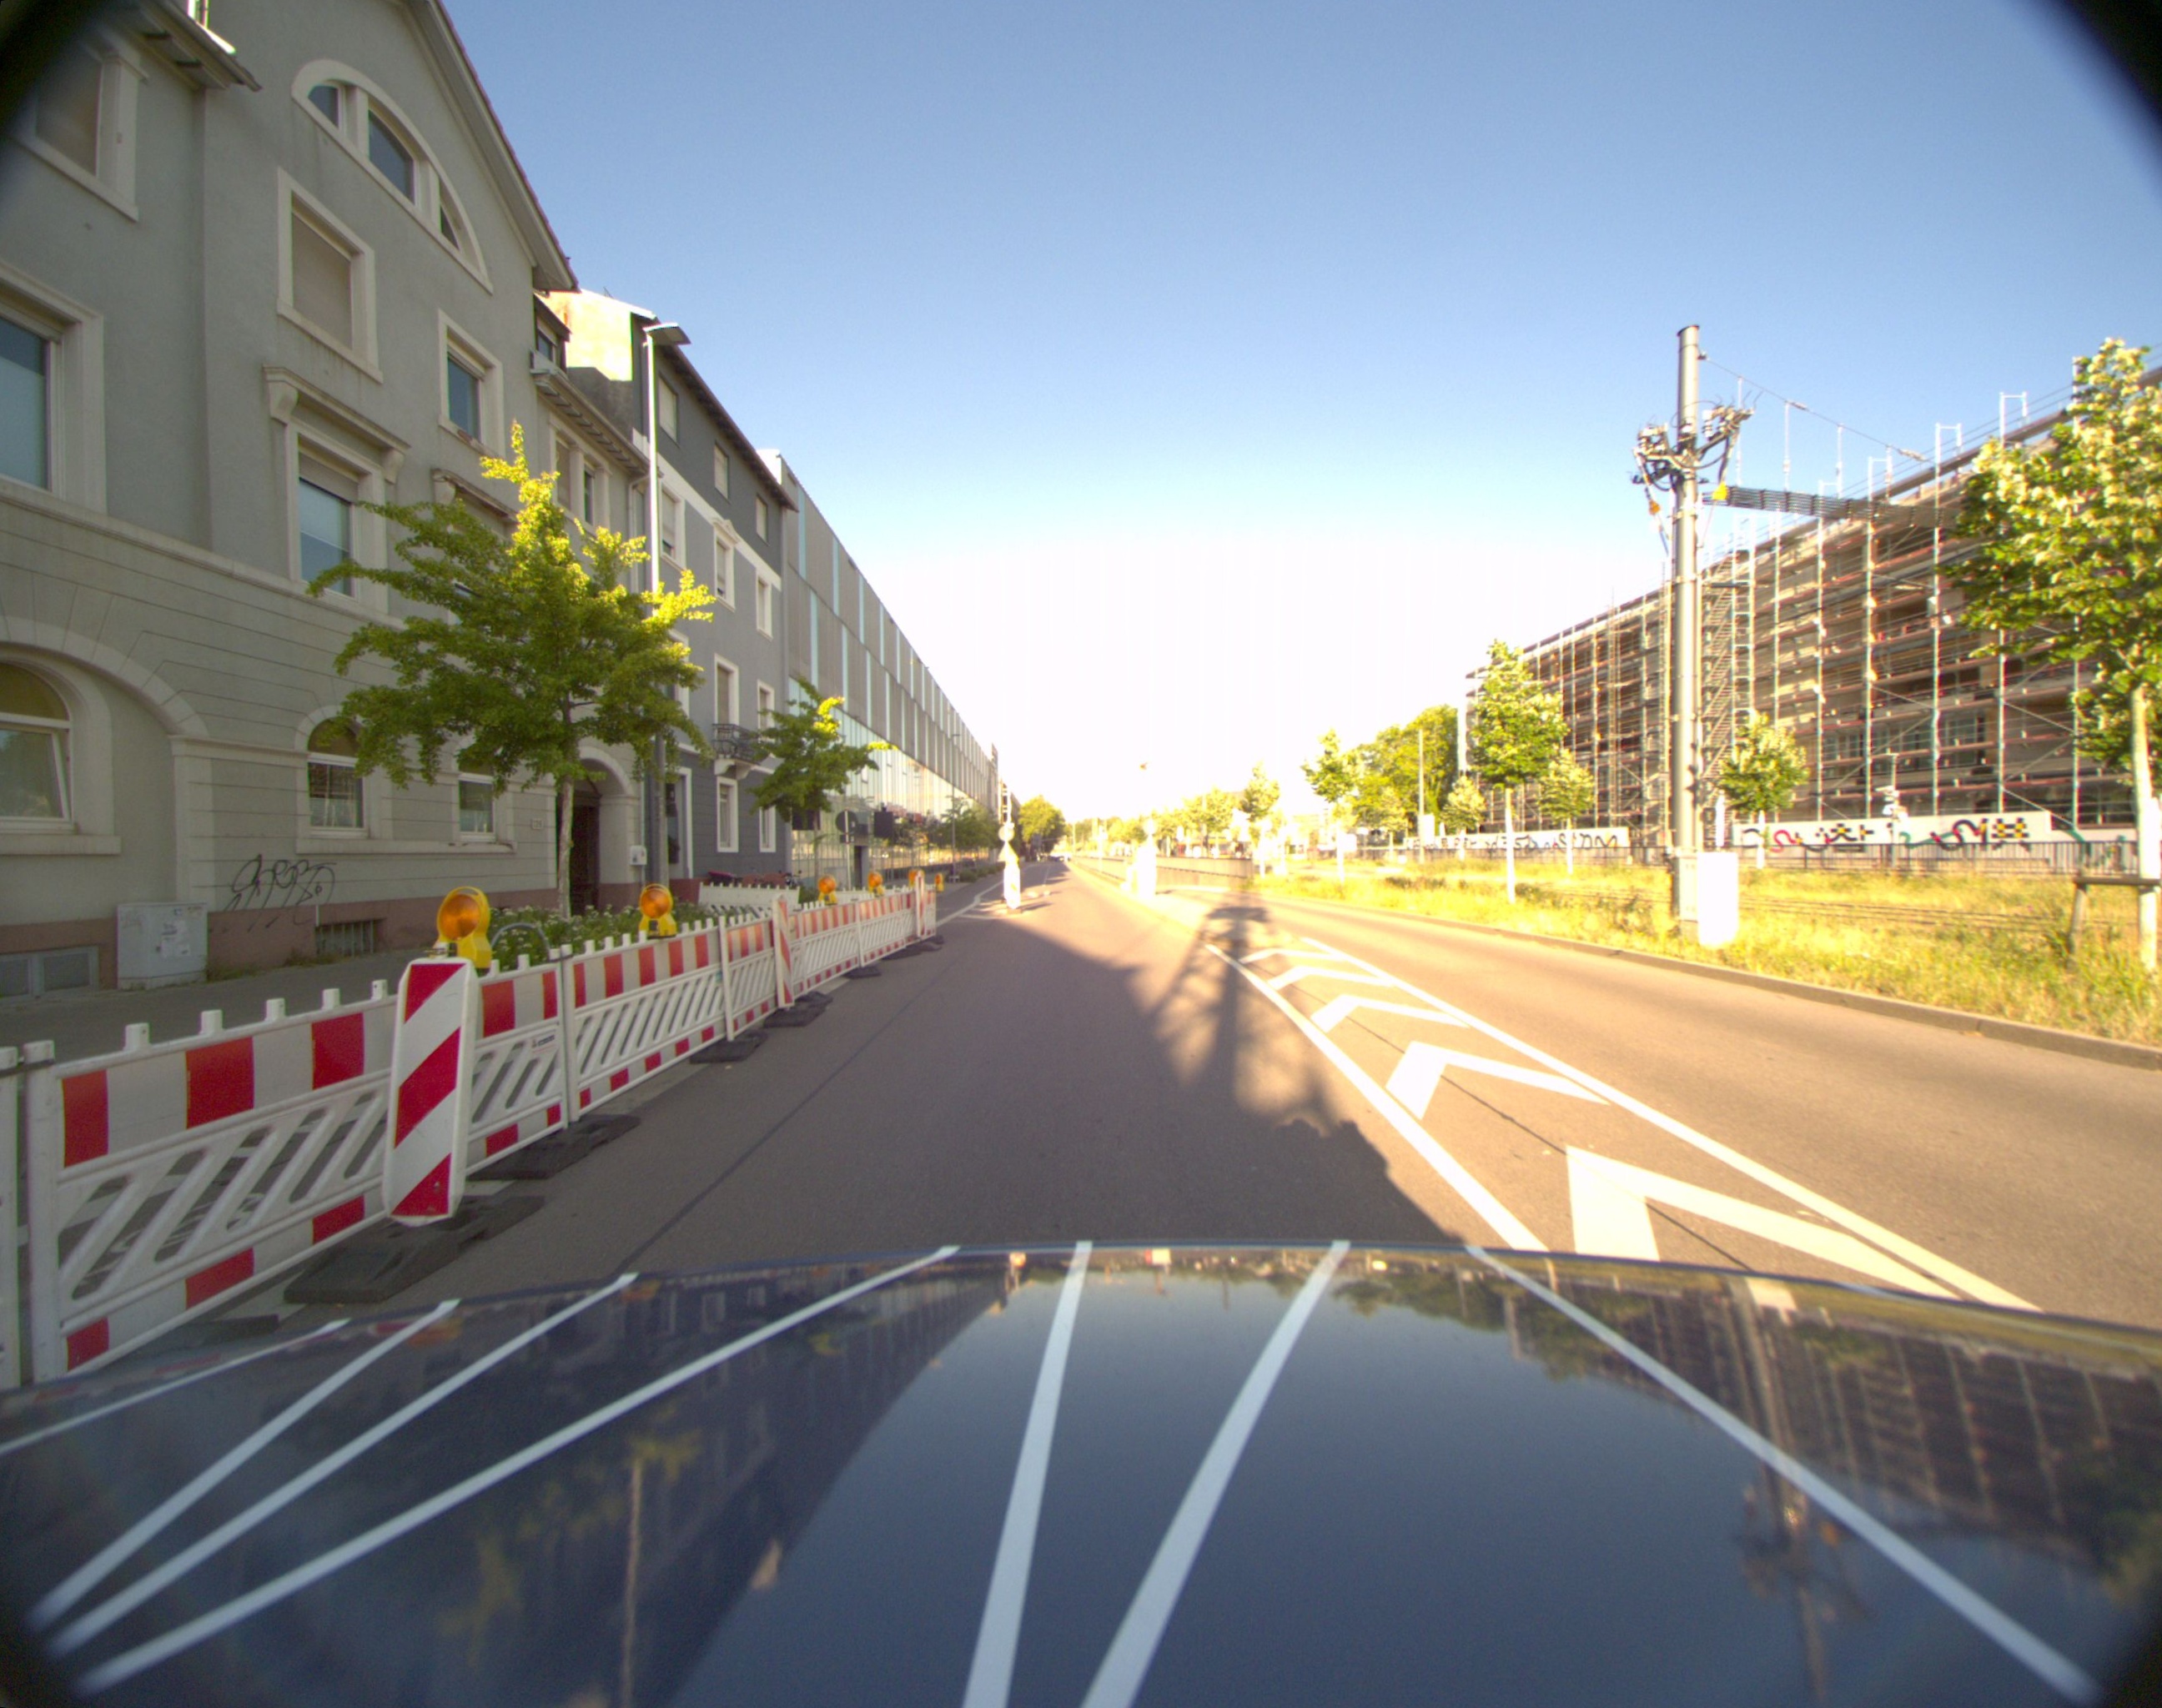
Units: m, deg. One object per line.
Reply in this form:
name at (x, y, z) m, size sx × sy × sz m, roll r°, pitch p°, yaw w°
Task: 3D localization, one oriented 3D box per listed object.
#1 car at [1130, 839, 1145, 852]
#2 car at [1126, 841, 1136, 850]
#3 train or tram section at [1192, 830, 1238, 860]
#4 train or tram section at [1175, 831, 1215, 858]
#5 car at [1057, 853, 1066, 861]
car at (9.065, -1.414, 122.521) m, size 1.998 × 2.002 × 3.999 m, roll -2°, pitch 1°, yaw 1°
car at (11.105, -1.891, 169.890) m, size 1.998 × 1.740 × 3.999 m, roll -2°, pitch 1°, yaw 1°
train or tram section at (16.411, -1.101, 94.202) m, size 2.954 × 3.378 × 12.630 m, roll -2°, pitch 1°, yaw -2°
train or tram section at (16.045, -1.334, 107.908) m, size 2.954 × 3.378 × 14.761 m, roll -2°, pitch 1°, yaw -2°
car at (-4.826, 0.785, 187.283) m, size 1.941 × 2.002 × 3.825 m, roll -1°, pitch 0°, yaw -3°
